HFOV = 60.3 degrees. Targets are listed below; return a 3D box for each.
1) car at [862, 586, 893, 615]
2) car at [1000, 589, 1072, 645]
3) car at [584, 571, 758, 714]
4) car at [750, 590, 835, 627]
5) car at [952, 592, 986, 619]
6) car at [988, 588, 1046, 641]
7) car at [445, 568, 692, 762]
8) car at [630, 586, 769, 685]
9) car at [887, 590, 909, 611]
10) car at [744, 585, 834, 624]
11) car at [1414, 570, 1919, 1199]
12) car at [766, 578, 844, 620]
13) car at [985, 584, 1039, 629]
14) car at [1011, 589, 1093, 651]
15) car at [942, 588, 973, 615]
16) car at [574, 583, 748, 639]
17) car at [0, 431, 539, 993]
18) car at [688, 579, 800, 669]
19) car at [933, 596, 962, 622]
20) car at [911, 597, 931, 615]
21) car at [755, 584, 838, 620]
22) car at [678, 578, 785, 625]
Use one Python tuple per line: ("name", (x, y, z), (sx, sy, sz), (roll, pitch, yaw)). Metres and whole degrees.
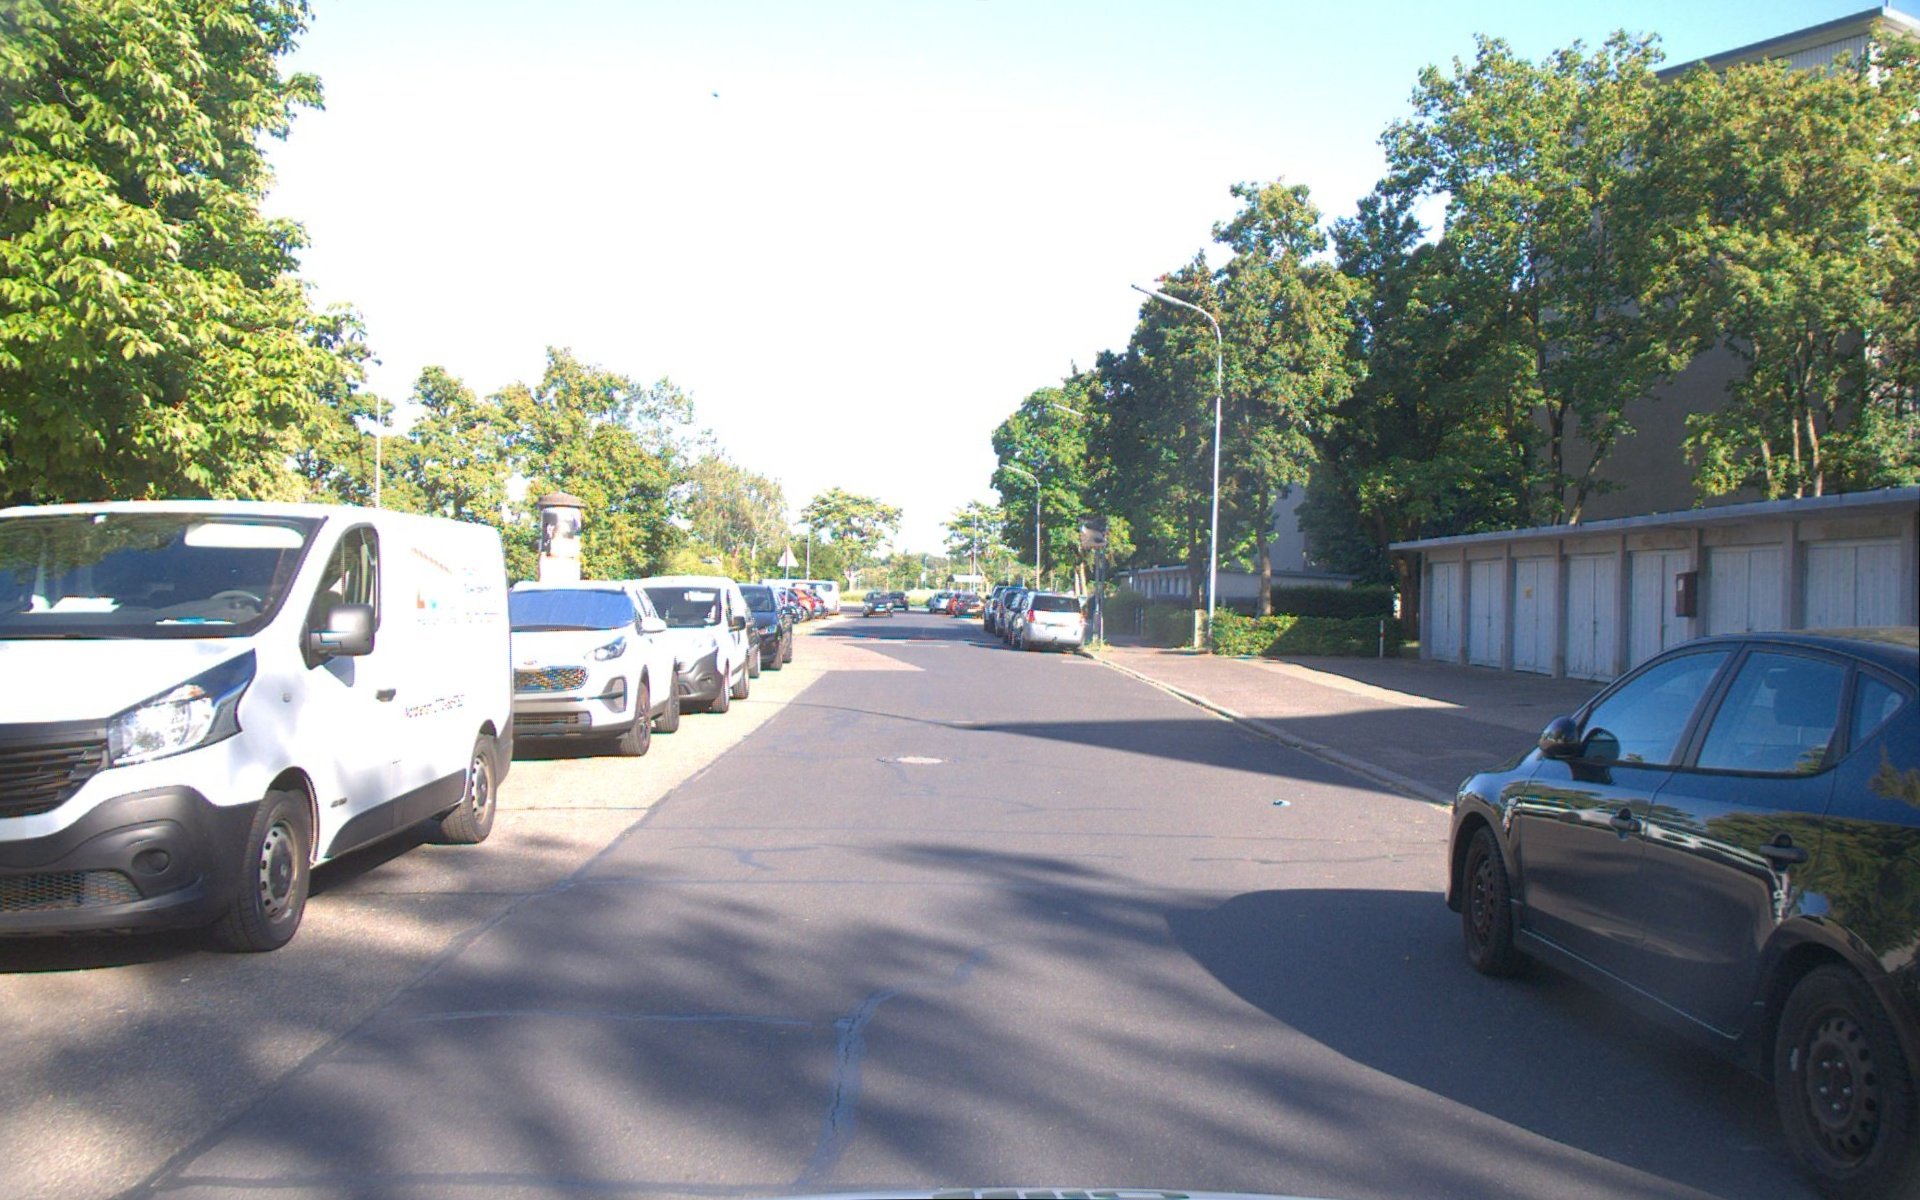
("car", (-4.893, 0.014, 97.599), (1.760, 1.589, 3.949), (2, 0, -3))
("car", (2.299, 0.490, 51.062), (1.760, 1.589, 3.949), (2, 0, -3))
("car", (-3.801, 0.513, 22.356), (1.711, 1.762, 4.004), (0, 0, -1))
("car", (-7.997, 0.384, 79.062), (3.976, 1.589, 1.799), (2, 0, -6))
("car", (0.542, 0.328, 100.893), (1.760, 1.575, 3.949), (2, 0, -3))
("car", (2.087, 0.513, 61.640), (1.760, 1.817, 3.949), (2, 0, -3))
("car", (-3.786, 0.562, 16.694), (1.712, 1.699, 4.374), (0, 0, -4))
("car", (-4.214, 0.538, 27.303), (1.711, 1.504, 4.152), (0, 0, -1))
("car", (-4.973, 0.004, 132.173), (1.646, 1.540, 4.101), (3, 0, -3))
("car", (-7.751, 0.183, 75.003), (3.976, 1.589, 1.799), (2, 0, -6))
("car", (3.132, 0.739, 5.635), (1.869, 1.557, 4.327), (2, 0, -1))
("car", (-8.199, -0.041, 87.595), (3.976, 2.027, 1.799), (2, 0, -6))
("car", (2.045, 0.236, 66.171), (1.760, 1.672, 3.949), (2, 0, -3))
("car", (2.489, 0.518, 45.686), (1.760, 1.589, 3.949), (2, 0, -3))
("car", (-0.168, 0.098, 108.655), (1.760, 1.672, 3.949), (2, 0, -3))
("car", (-7.927, 0.279, 44.094), (4.296, 1.461, 1.843), (0, 0, -1))
("car", (-3.698, 0.385, 8.412), (1.876, 1.997, 5.086), (0, 0, -1))
("car", (-4.157, 0.423, 32.376), (1.711, 1.641, 4.307), (0, 0, -1))
("car", (-0.908, 0.631, 118.282), (1.760, 1.672, 3.949), (2, 0, -3))
("car", (-3.914, 0.624, 164.426), (1.760, 1.672, 3.949), (2, 0, -3))
("car", (-8.088, 0.084, 82.014), (3.976, 1.589, 1.799), (2, 0, -6))
("car", (-8.743, 0.052, 63.546), (3.976, 1.589, 1.799), (2, 0, -6))
